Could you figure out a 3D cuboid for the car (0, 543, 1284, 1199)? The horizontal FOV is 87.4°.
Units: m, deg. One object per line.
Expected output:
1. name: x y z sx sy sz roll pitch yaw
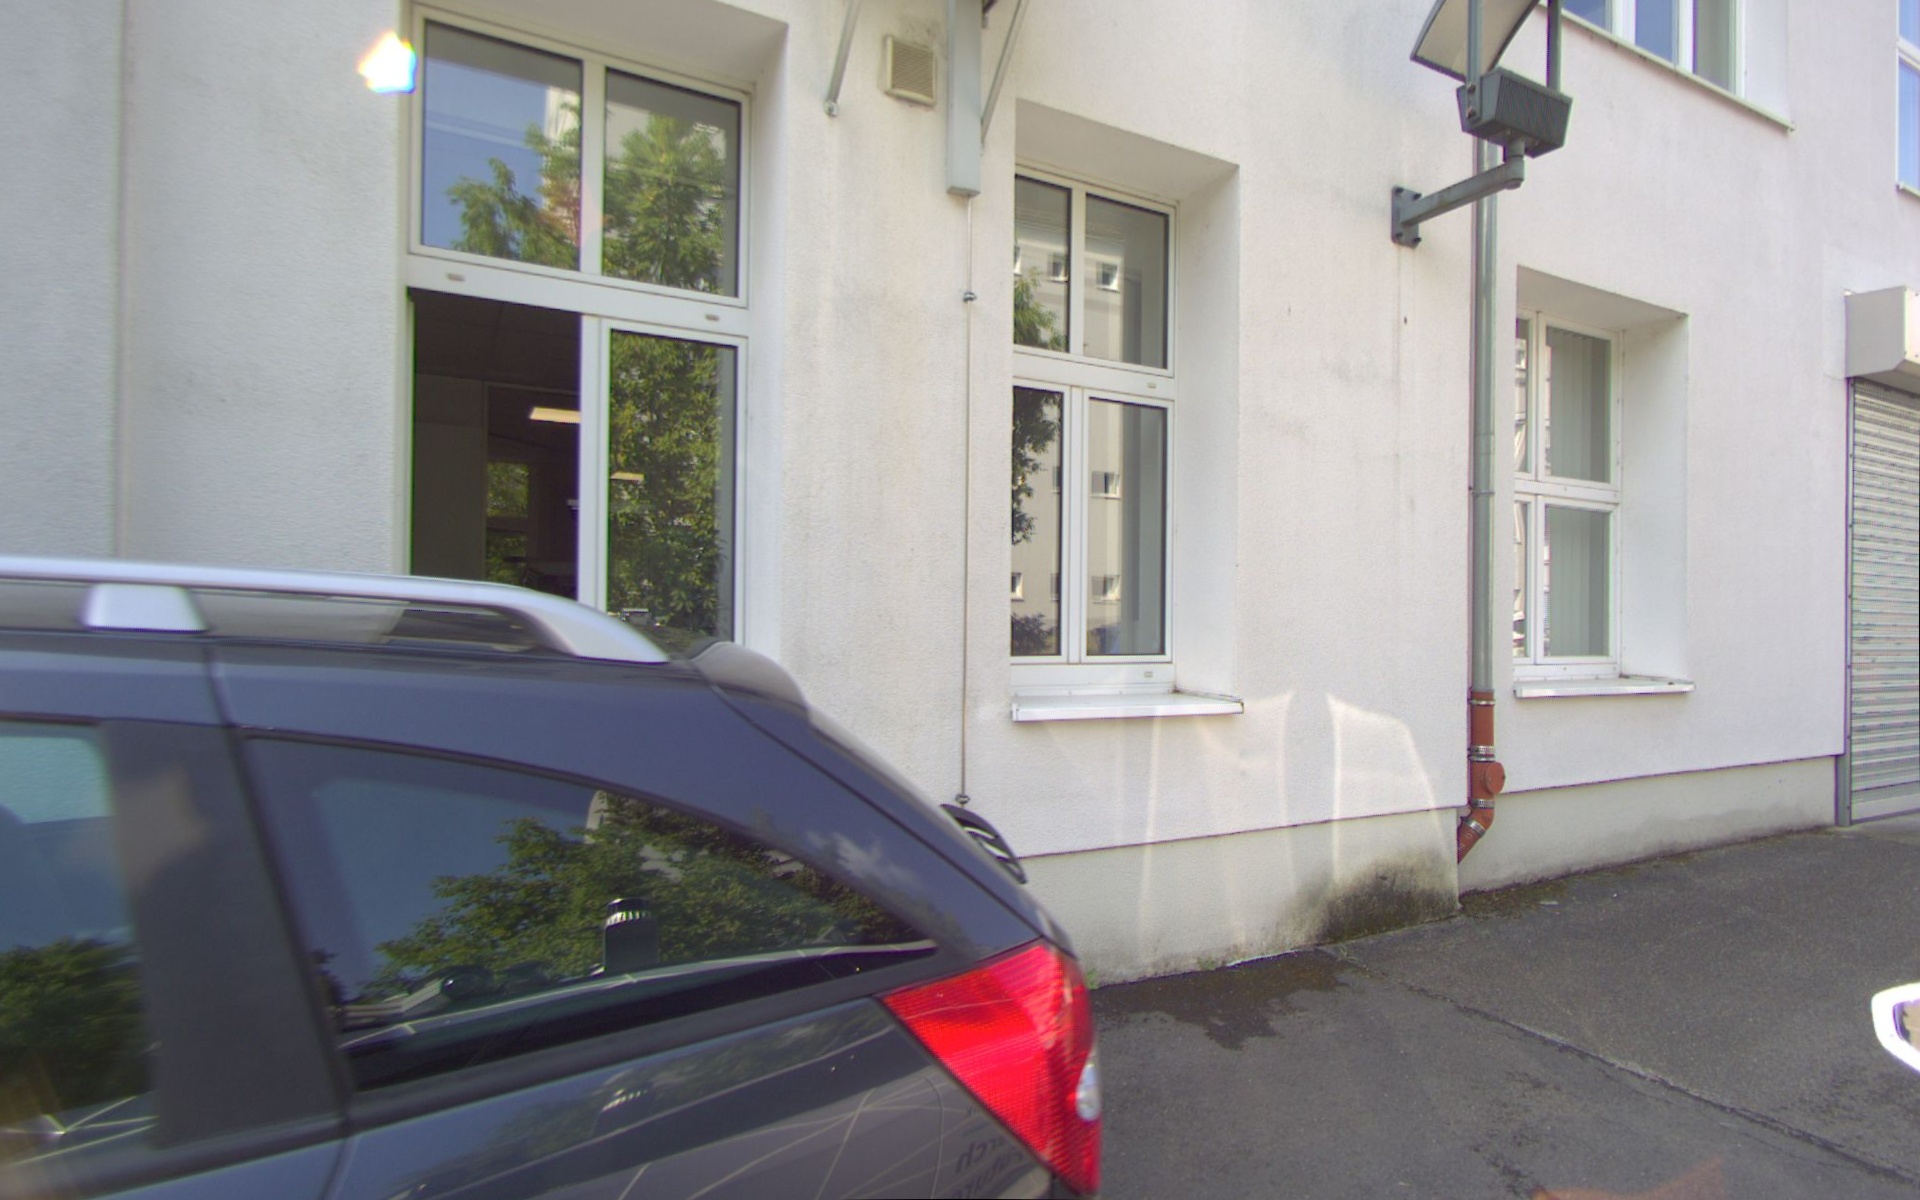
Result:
1. car: -1.930 0.616 1.114 4.288 1.461 1.871 4 0 -29
